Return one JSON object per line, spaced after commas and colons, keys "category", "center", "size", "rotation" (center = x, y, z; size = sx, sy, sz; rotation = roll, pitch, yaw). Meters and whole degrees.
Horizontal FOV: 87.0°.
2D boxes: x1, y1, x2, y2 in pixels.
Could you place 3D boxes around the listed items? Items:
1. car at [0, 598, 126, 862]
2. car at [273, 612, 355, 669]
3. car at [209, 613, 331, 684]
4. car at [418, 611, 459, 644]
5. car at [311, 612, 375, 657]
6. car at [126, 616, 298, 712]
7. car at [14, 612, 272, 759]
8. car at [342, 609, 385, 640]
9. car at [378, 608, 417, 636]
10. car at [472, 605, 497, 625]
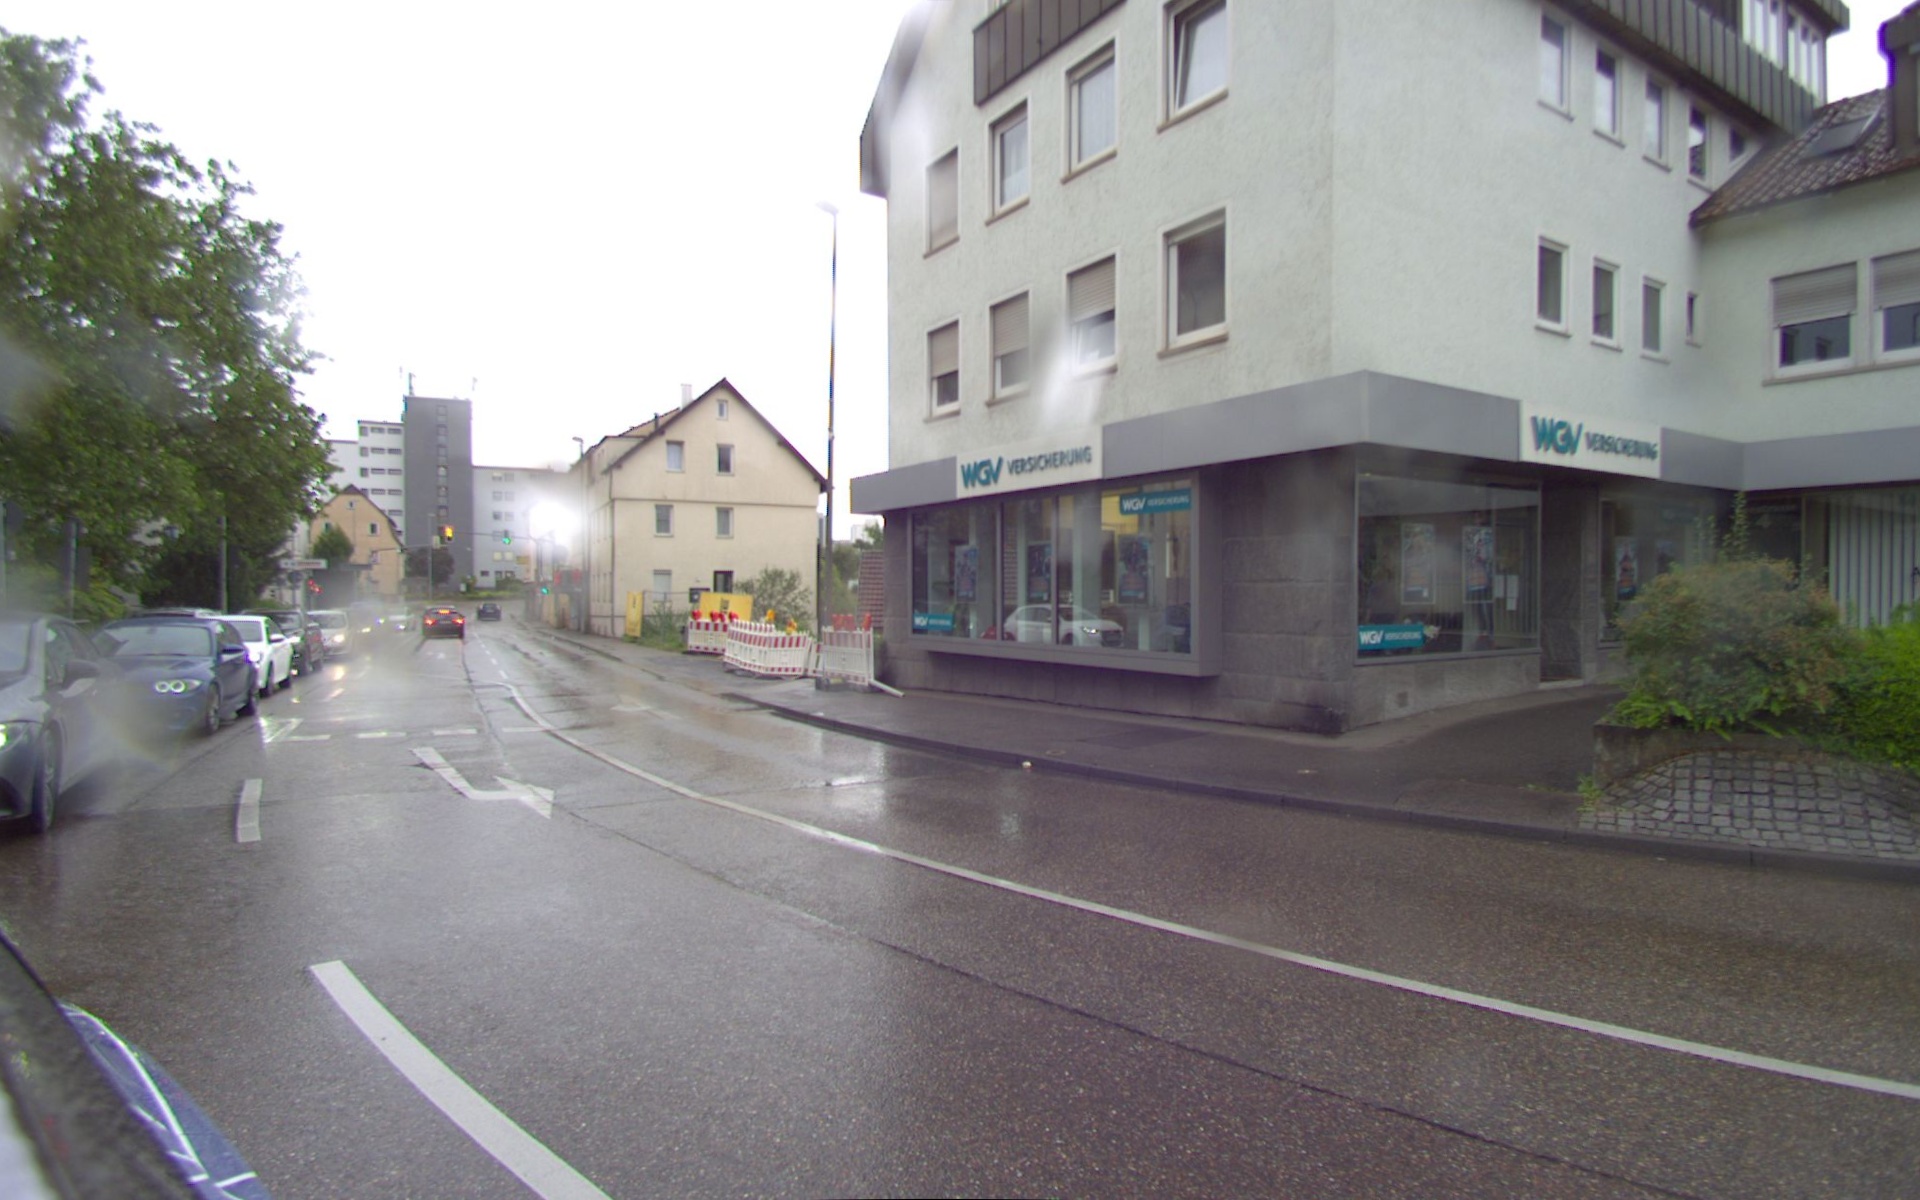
{"category": "car", "center": [-7.419, 0.781, 7.082], "size": [1.966, 1.504, 4.325], "rotation": [-1, 0, -33]}
{"category": "car", "center": [-20.108, 1.204, 31.656], "size": [1.814, 1.633, 4.013], "rotation": [-1, 0, -28]}
{"category": "car", "center": [-16.696, 1.106, 24.677], "size": [1.783, 1.577, 4.013], "rotation": [0, -1, -24]}
{"category": "car", "center": [-26.104, 1.359, 50.685], "size": [1.783, 1.577, 4.013], "rotation": [0, -1, -27]}
{"category": "car", "center": [-23.723, 1.285, 39.025], "size": [1.802, 1.563, 4.013], "rotation": [-2, 0, -28]}
{"category": "car", "center": [-13.615, 1.075, 18.682], "size": [1.966, 1.464, 4.013], "rotation": [-2, 1, -28]}
{"category": "car", "center": [-10.400, 0.948, 13.248], "size": [1.744, 1.544, 4.392], "rotation": [-1, 0, -27]}
{"category": "car", "center": [-30.240, 1.217, 51.385], "size": [1.823, 1.489, 4.012], "rotation": [-1, 0, -30]}
{"category": "car", "center": [-35.400, 1.388, 63.675], "size": [1.966, 1.564, 4.011], "rotation": [0, -3, -31]}
{"category": "car", "center": [-39.265, 1.219, 83.503], "size": [1.783, 1.577, 4.013], "rotation": [0, -1, -27]}
